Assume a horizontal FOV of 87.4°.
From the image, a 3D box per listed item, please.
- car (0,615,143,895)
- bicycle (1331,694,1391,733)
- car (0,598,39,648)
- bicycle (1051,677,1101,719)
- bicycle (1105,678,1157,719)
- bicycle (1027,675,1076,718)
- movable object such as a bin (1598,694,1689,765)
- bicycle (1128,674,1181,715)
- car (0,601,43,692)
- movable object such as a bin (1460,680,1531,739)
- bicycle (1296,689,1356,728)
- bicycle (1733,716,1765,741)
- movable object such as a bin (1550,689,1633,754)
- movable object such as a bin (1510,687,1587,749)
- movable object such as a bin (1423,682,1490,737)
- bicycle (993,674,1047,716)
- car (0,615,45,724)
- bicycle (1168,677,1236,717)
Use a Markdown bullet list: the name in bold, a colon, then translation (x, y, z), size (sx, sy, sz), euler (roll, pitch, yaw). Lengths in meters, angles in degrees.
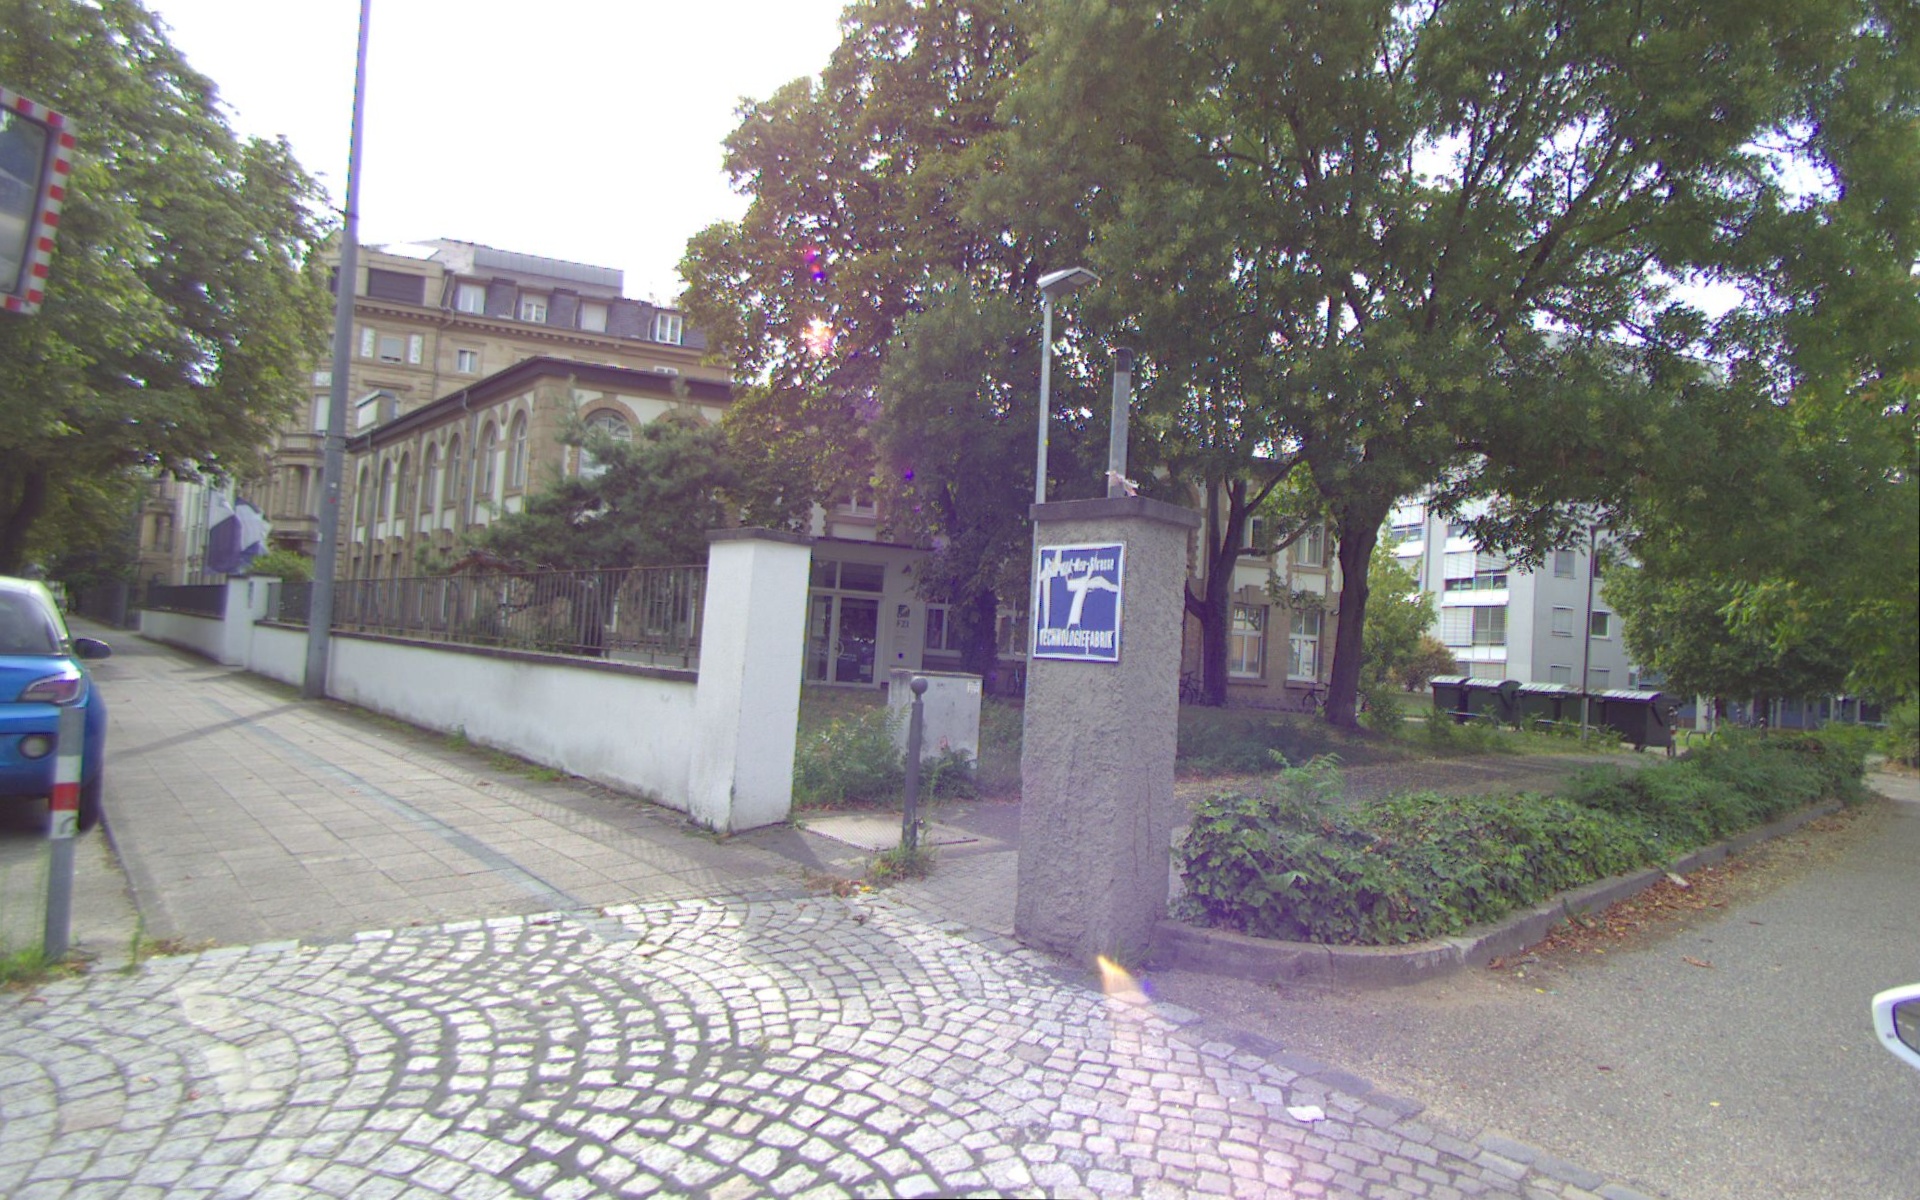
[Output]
- **car**: translation (-6.564, 0.822, 6.455), size (1.623, 1.483, 3.555), euler (7, -5, -44)
- **bicycle**: translation (12.405, 3.511, 31.157), size (0.585, 1.057, 1.970), euler (4, -3, -18)
- **car**: translation (-34.283, 0.794, 35.996), size (1.650, 1.654, 3.855), euler (7, -5, -44)
- **bicycle**: translation (3.249, 2.756, 28.357), size (0.585, 1.057, 1.970), euler (4, -3, -18)
- **bicycle**: translation (4.877, 2.798, 28.742), size (0.585, 1.057, 1.970), euler (4, -3, -18)
- **bicycle**: translation (2.533, 2.680, 28.073), size (0.585, 1.057, 1.970), euler (4, -3, -18)
- **movable object such as a bin**: translation (15.616, 2.947, 22.970), size (1.104, 1.448, 1.280), euler (5, -3, -16)
- **bicycle**: translation (5.602, 2.716, 29.040), size (0.585, 1.057, 1.970), euler (4, -3, -18)
- **car**: translation (-19.068, 0.832, 19.476), size (1.650, 1.654, 3.676), euler (7, -5, -44)
- **movable object such as a bin**: translation (14.563, 2.973, 27.359), size (1.104, 1.448, 1.280), euler (5, -3, -16)
- **bicycle**: translation (11.159, 3.301, 30.695), size (0.585, 1.057, 1.970), euler (4, -3, -18)
- **bicycle**: translation (41.110, 6.703, 52.339), size (1.878, 1.196, 0.646), euler (6, -4, -30)
- **movable object such as a bin**: translation (15.400, 2.952, 24.513), size (1.104, 1.448, 1.280), euler (5, -3, -16)
- **movable object such as a bin**: translation (15.137, 3.013, 25.853), size (1.104, 1.448, 1.280), euler (5, -3, -16)
- **movable object such as a bin**: translation (14.159, 3.115, 28.680), size (1.104, 1.448, 1.280), euler (5, -3, -16)
- **bicycle**: translation (1.643, 2.621, 27.897), size (0.587, 1.057, 1.965), euler (5, -4, -26)
- **car**: translation (-14.642, 0.928, 14.704), size (1.623, 1.483, 3.527), euler (7, -5, -44)
- **bicycle**: translation (7.188, 2.875, 29.897), size (0.590, 1.057, 1.953), euler (6, -4, -41)
